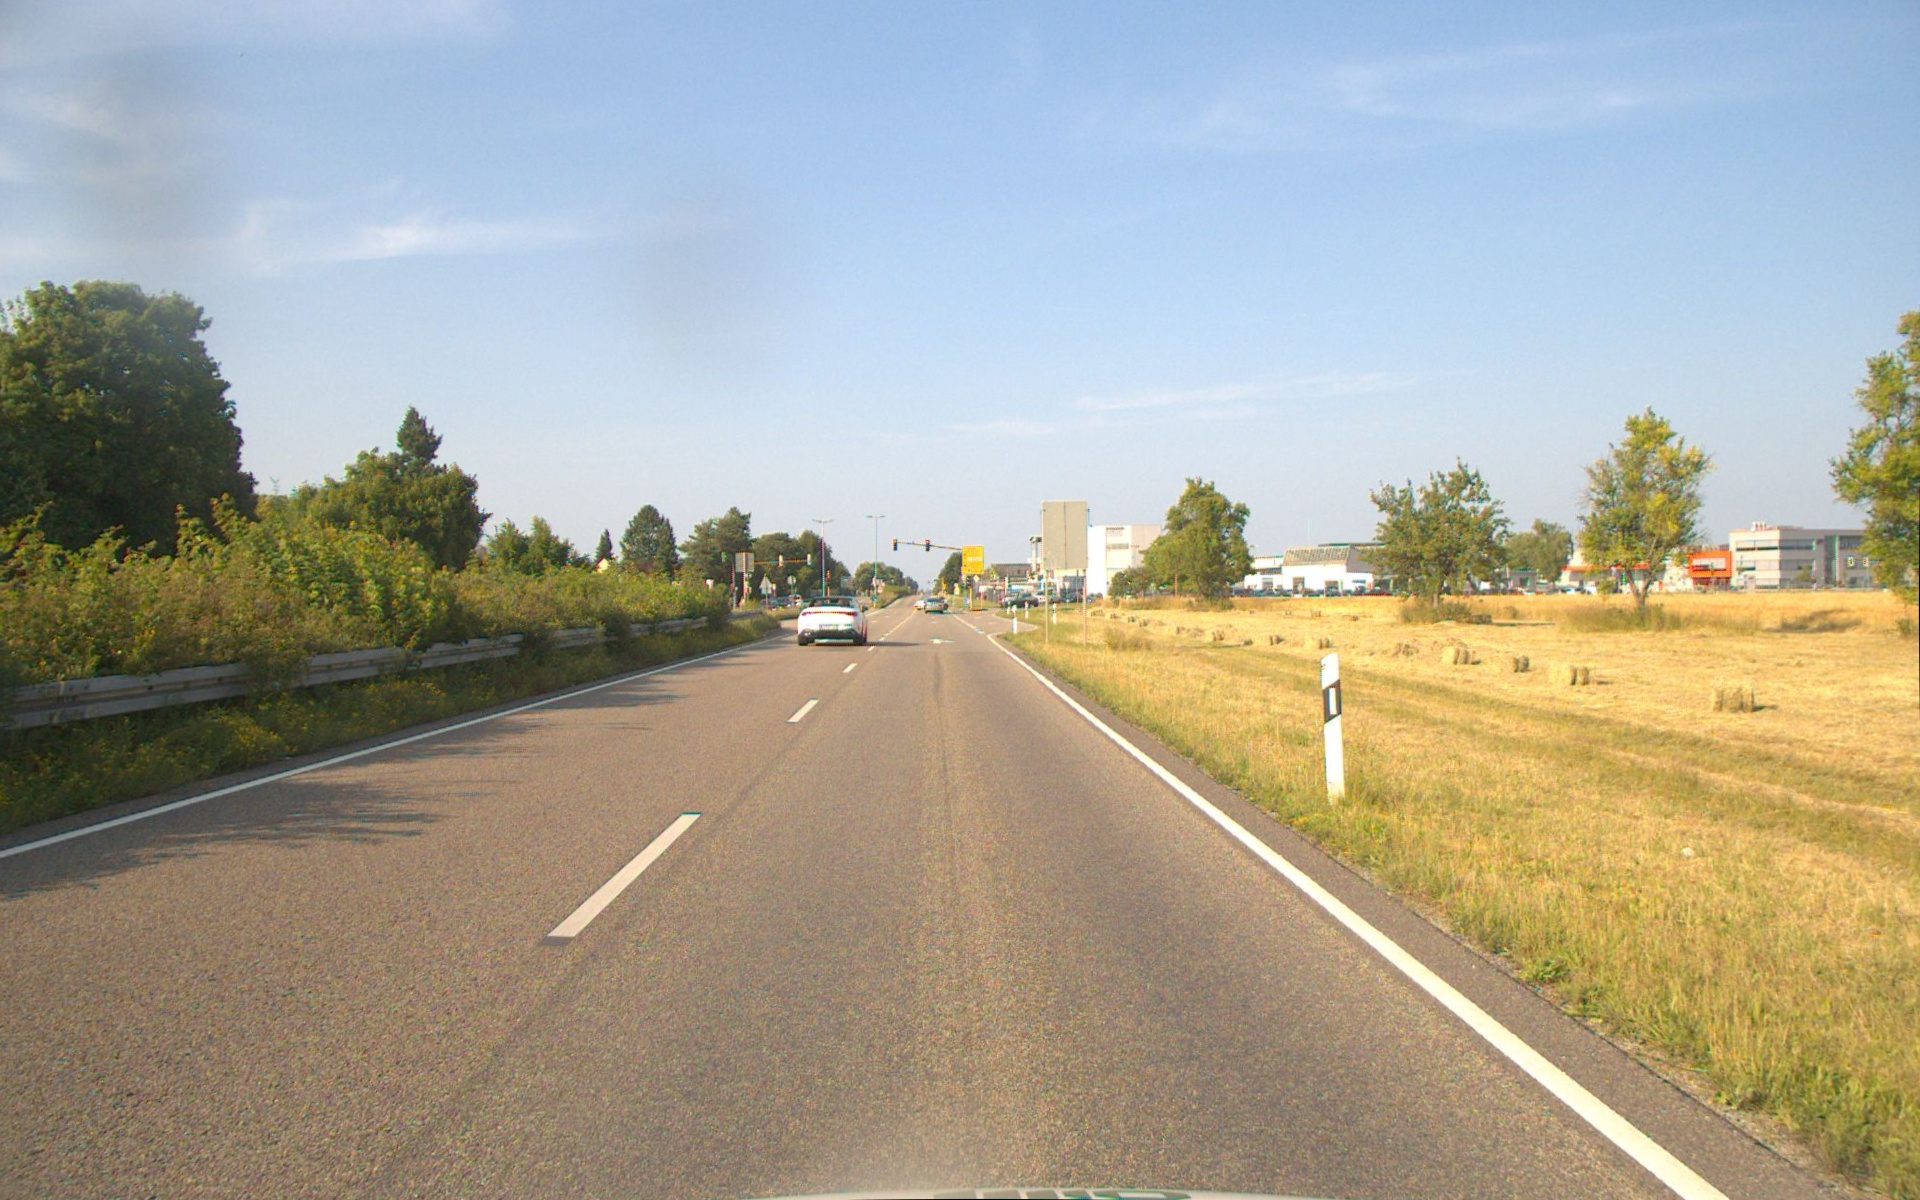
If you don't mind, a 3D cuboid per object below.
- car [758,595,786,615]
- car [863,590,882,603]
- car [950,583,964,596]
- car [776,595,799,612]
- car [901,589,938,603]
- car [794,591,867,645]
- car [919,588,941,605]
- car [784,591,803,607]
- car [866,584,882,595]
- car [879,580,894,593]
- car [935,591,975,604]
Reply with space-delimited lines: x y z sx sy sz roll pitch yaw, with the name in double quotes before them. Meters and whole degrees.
"car" -15.163 0.394 133.517 1.953 1.512 4.225 0 0 -2
"car" -9.880 -0.352 186.775 1.908 1.432 4.000 0 0 0
"car" -0.419 -1.468 225.970 1.953 1.787 4.000 0 0 0
"car" -15.727 0.314 150.761 1.694 1.432 4.000 0 0 0
"car" -4.304 -0.453 176.867 1.917 1.432 3.980 1 1 39
"car" -3.671 0.487 47.414 1.871 1.447 3.999 0 0 -2
"car" -2.736 -0.322 151.940 1.953 1.512 3.999 0 0 -2
"car" -19.466 -0.164 193.613 1.908 1.831 4.000 0 0 0
"car" -10.995 -1.368 211.596 1.908 1.432 4.000 0 0 0
"car" -10.062 -1.826 225.869 1.908 1.803 4.000 0 0 0
"car" -0.534 -0.264 176.032 3.930 1.432 1.942 0 0 -21
